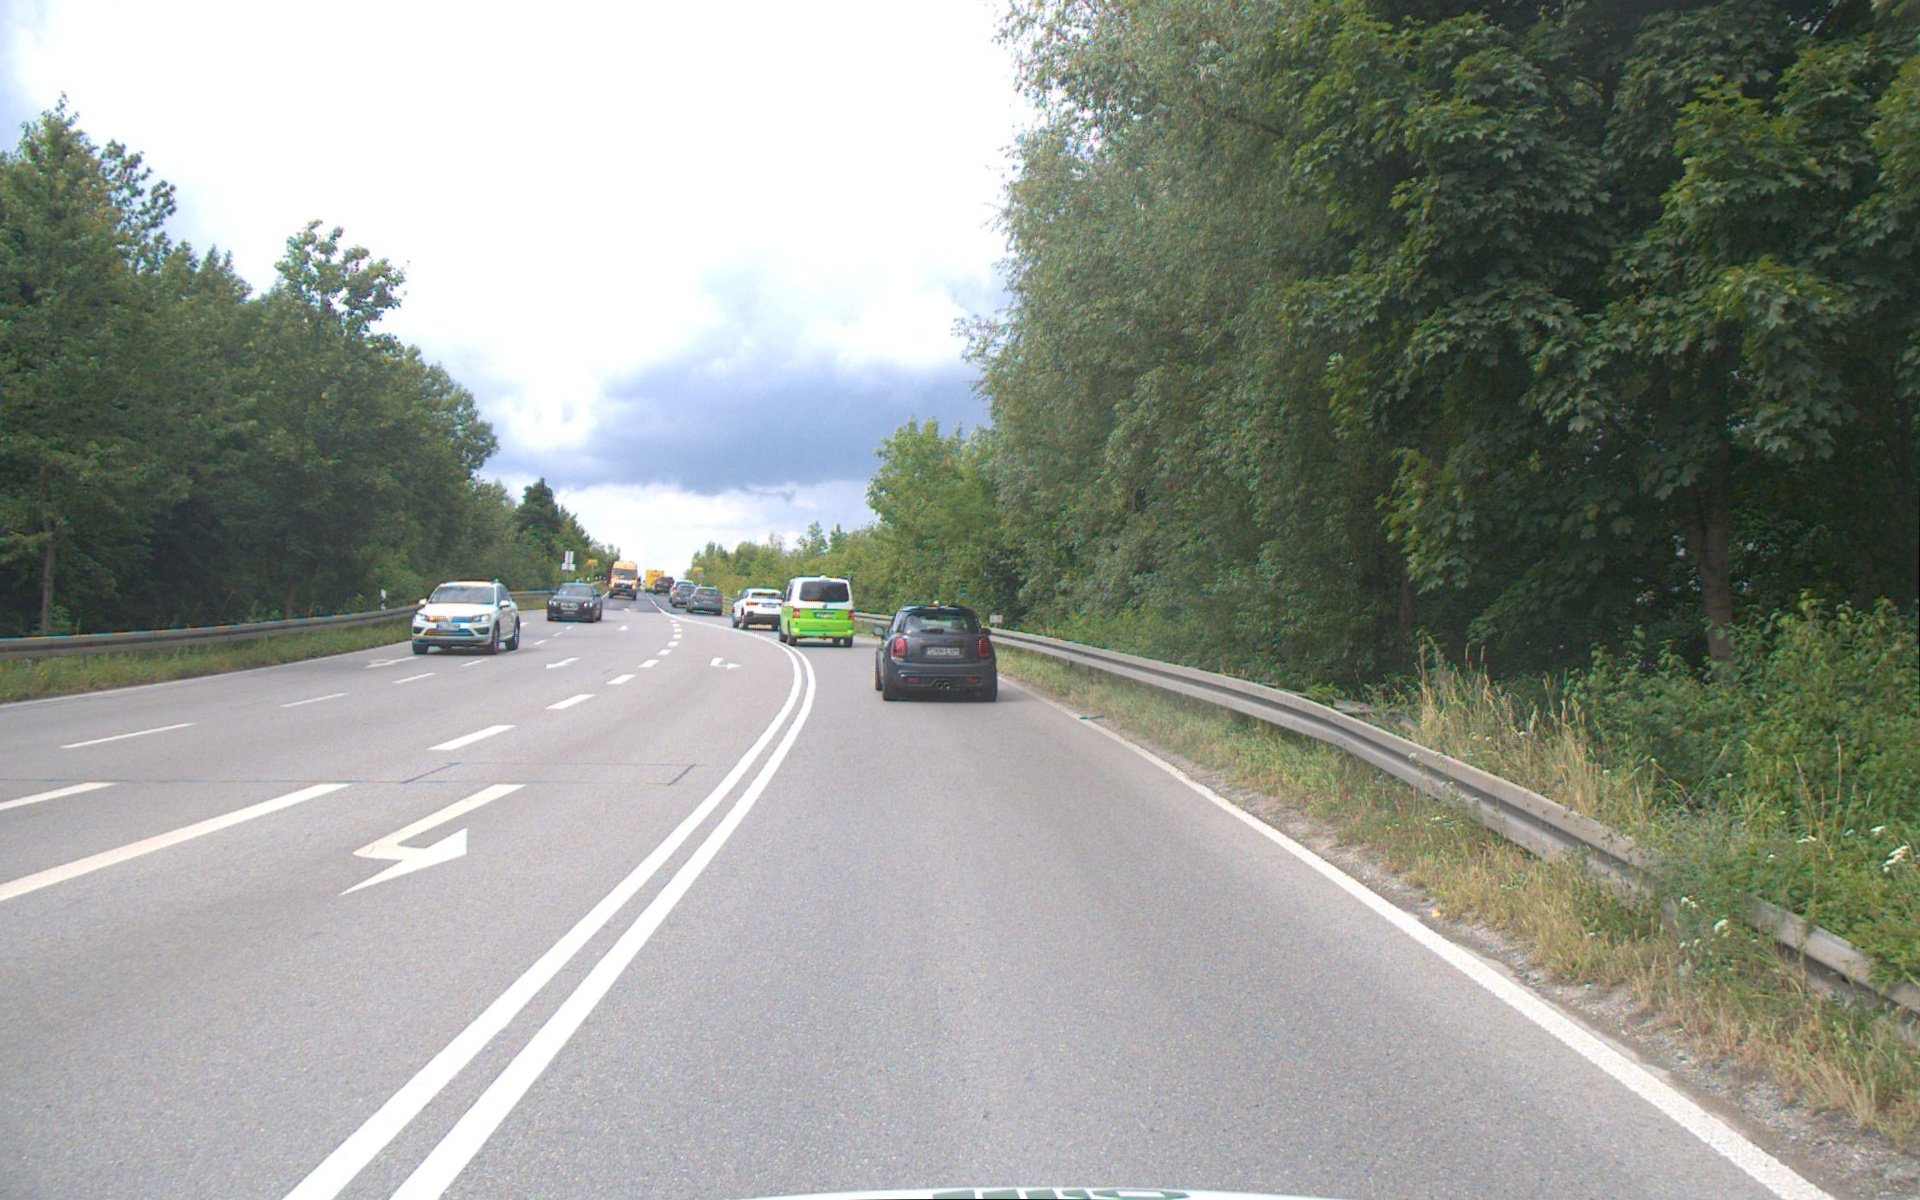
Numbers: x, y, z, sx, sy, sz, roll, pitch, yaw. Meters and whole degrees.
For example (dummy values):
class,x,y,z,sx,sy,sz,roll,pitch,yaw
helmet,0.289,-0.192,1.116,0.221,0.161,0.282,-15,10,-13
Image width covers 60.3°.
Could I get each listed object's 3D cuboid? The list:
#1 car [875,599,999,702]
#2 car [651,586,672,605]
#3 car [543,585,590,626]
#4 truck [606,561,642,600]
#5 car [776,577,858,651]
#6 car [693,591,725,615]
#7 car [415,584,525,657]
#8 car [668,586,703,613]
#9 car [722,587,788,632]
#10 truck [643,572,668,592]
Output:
class,x,y,z,sx,sy,sz,roll,pitch,yaw
car,-0.435,0.744,25.960,1.698,1.481,3.996,1,0,-4
car,-28.853,-0.424,159.868,1.958,1.829,3.989,1,0,-11
car,-15.670,0.192,65.732,1.689,1.524,4.529,0,1,-15
truck,-24.136,-1.421,118.882,2.274,2.646,6.010,2,1,-10
car,-4.242,0.383,48.536,1.986,2.048,3.989,1,0,-11
car,-13.670,0.163,90.155,1.663,1.243,3.992,0,1,-9
car,-11.923,0.456,40.526,1.823,1.672,4.729,0,0,-7
car,-17.333,-0.041,104.383,1.848,1.646,3.985,1,0,-14
car,-7.975,0.350,63.969,1.955,1.647,4.136,1,0,-15
truck,-38.884,-2.271,211.355,2.856,2.413,10.431,1,0,-9
